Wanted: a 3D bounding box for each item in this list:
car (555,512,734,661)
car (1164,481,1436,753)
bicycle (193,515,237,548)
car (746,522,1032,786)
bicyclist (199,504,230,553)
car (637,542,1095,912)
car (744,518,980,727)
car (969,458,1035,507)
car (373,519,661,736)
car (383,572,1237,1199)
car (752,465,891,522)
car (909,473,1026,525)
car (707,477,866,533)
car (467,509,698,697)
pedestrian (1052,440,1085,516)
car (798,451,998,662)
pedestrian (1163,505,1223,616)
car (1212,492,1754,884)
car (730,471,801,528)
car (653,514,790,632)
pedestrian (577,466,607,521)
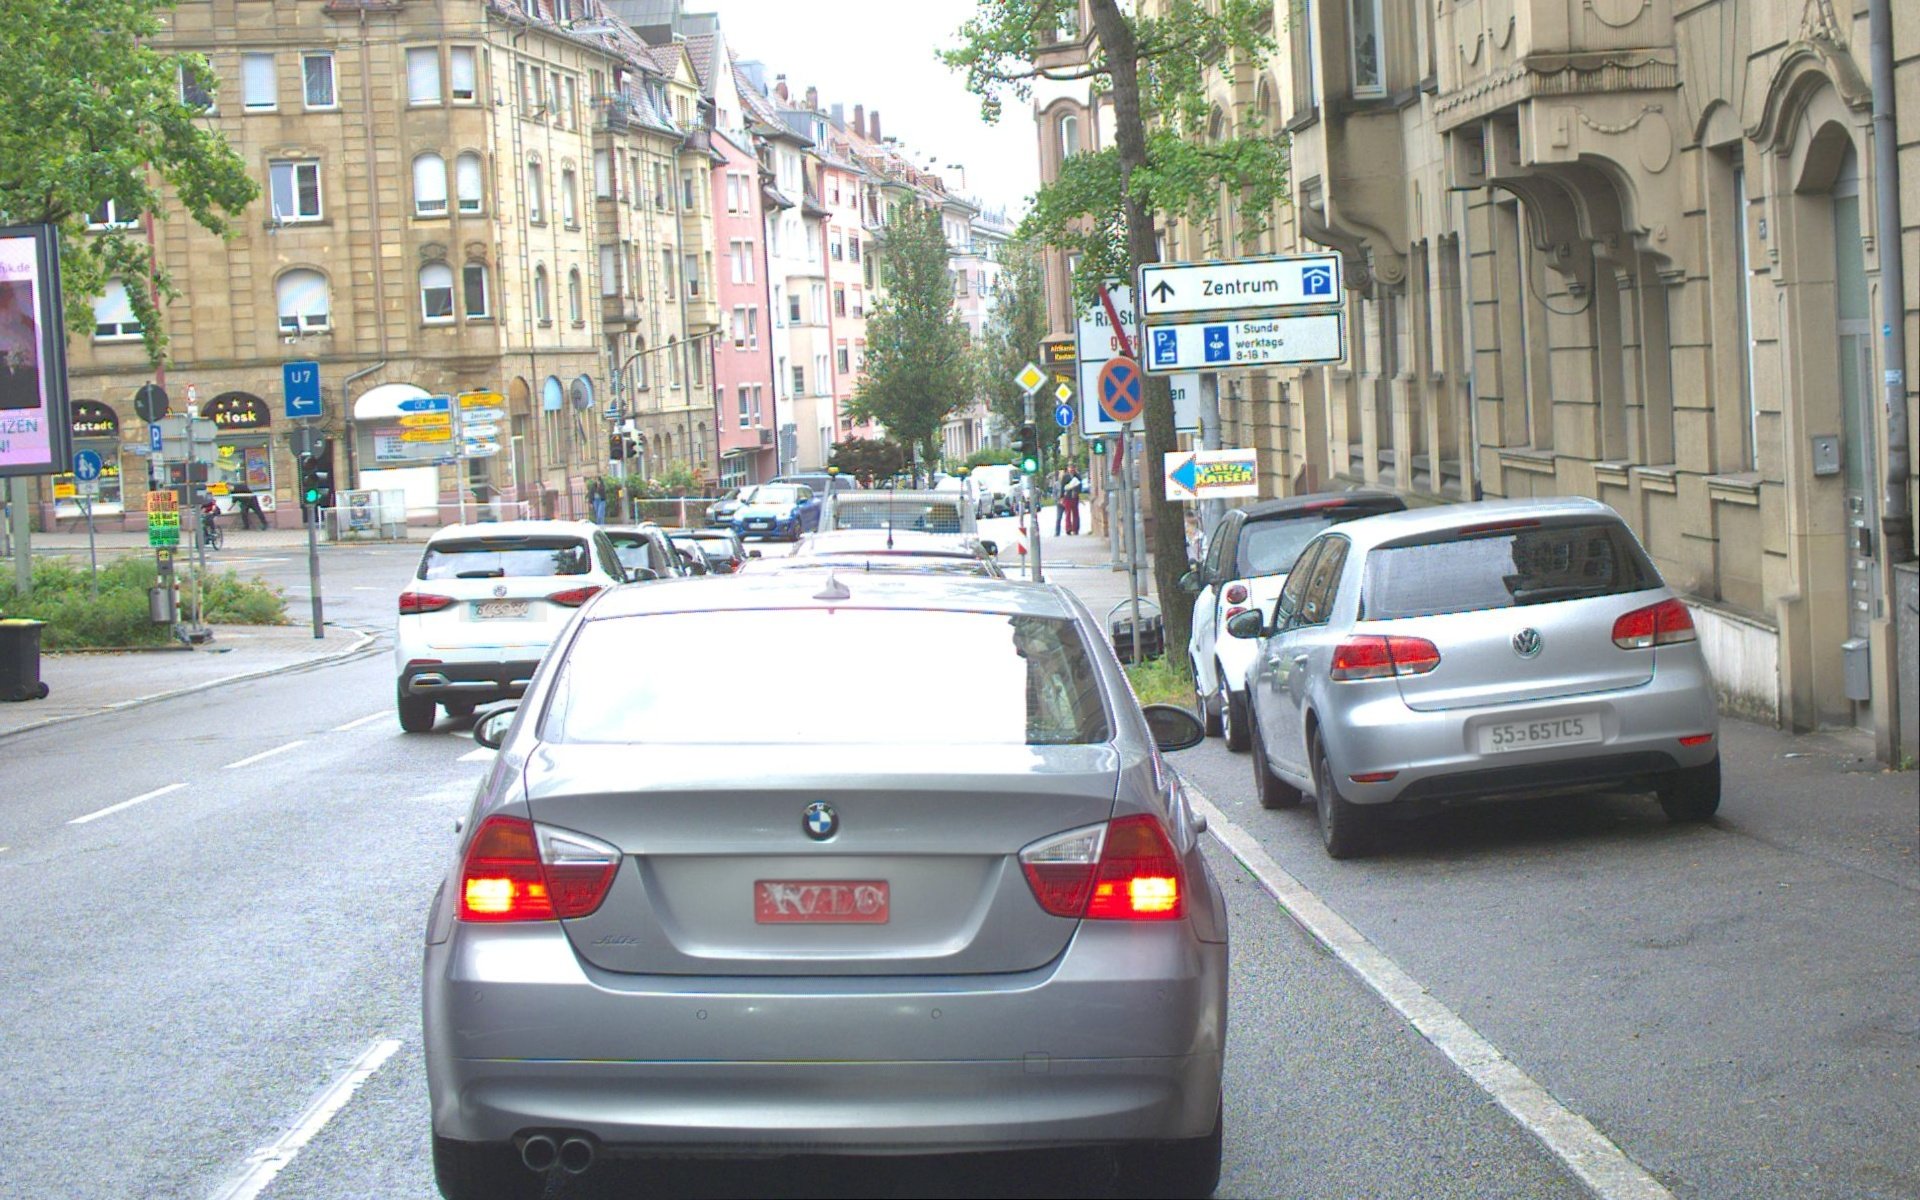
[{"bbox_3d":[-3.801,-0.205,41.970,1.759,1.702,4.000,-1,1,1],"label":"car"},{"bbox_3d":[2.179,0.071,22.623,1.299,1.537,2.976,-6,1,-1],"label":"car"},{"bbox_3d":[-19.865,-1.828,91.667,0.573,0.855,1.521,1,1,12],"label":"bicycle"},{"bbox_3d":[-0.378,0.259,21.227,1.595,1.459,4.000,0,1,1],"label":"car"},{"bbox_3d":[-19.863,-1.903,91.592,0.569,1.268,0.689,1,0,12],"label":"bicyclist"},{"bbox_3d":[-0.346,0.460,15.346,1.759,1.378,4.000,-1,1,1],"label":"car"},{"bbox_3d":[-0.736,0.122,28.179,1.759,1.562,4.000,-1,1,1],"label":"car"},{"bbox_3d":[1.501,-4.097,120.213,1.994,1.573,3.999,1,1,5],"label":"car"},{"bbox_3d":[-3.530,0.160,28.048,1.868,1.620,4.000,-1,1,-1],"label":"car"},{"bbox_3d":[-0.269,0.665,8.406,1.623,1.378,3.615,-1,1,1],"label":"car"},{"bbox_3d":[-5.203,-4.015,130.126,5.176,2.007,2.699,1,1,-1],"label":"car"},{"bbox_3d":[0.272,-3.272,111.794,1.997,1.573,3.993,1,1,32],"label":"car"},{"bbox_3d":[-5.145,-2.811,102.415,1.999,1.573,4.643,1,1,43],"label":"car"},{"bbox_3d":[-3.621,-0.023,33.594,1.759,1.702,4.000,-1,1,1],"label":"car"},{"bbox_3d":[2.745,-3.092,87.261,0.742,1.903,0.659,-2,1,-1],"label":"pedestrian"},{"bbox_3d":[-0.642,-0.466,36.397,1.993,2.099,4.000,0,1,-1],"label":"car"},{"bbox_3d":[3.285,-0.561,48.501,0.631,1.503,0.693,-6,1,-1],"label":"pedestrian"},{"bbox_3d":[2.324,0.320,16.303,1.759,1.446,4.000,-6,1,-1],"label":"car"},{"bbox_3d":[-5.185,-2.680,92.060,1.715,1.445,3.743,-2,1,-1],"label":"car"},{"bbox_3d":[-3.605,-0.449,52.641,1.759,1.702,4.000,-1,1,1],"label":"car"},{"bbox_3d":[-10.810,-3.132,100.981,0.732,1.572,0.528,-2,1,8],"label":"pedestrian"}]
